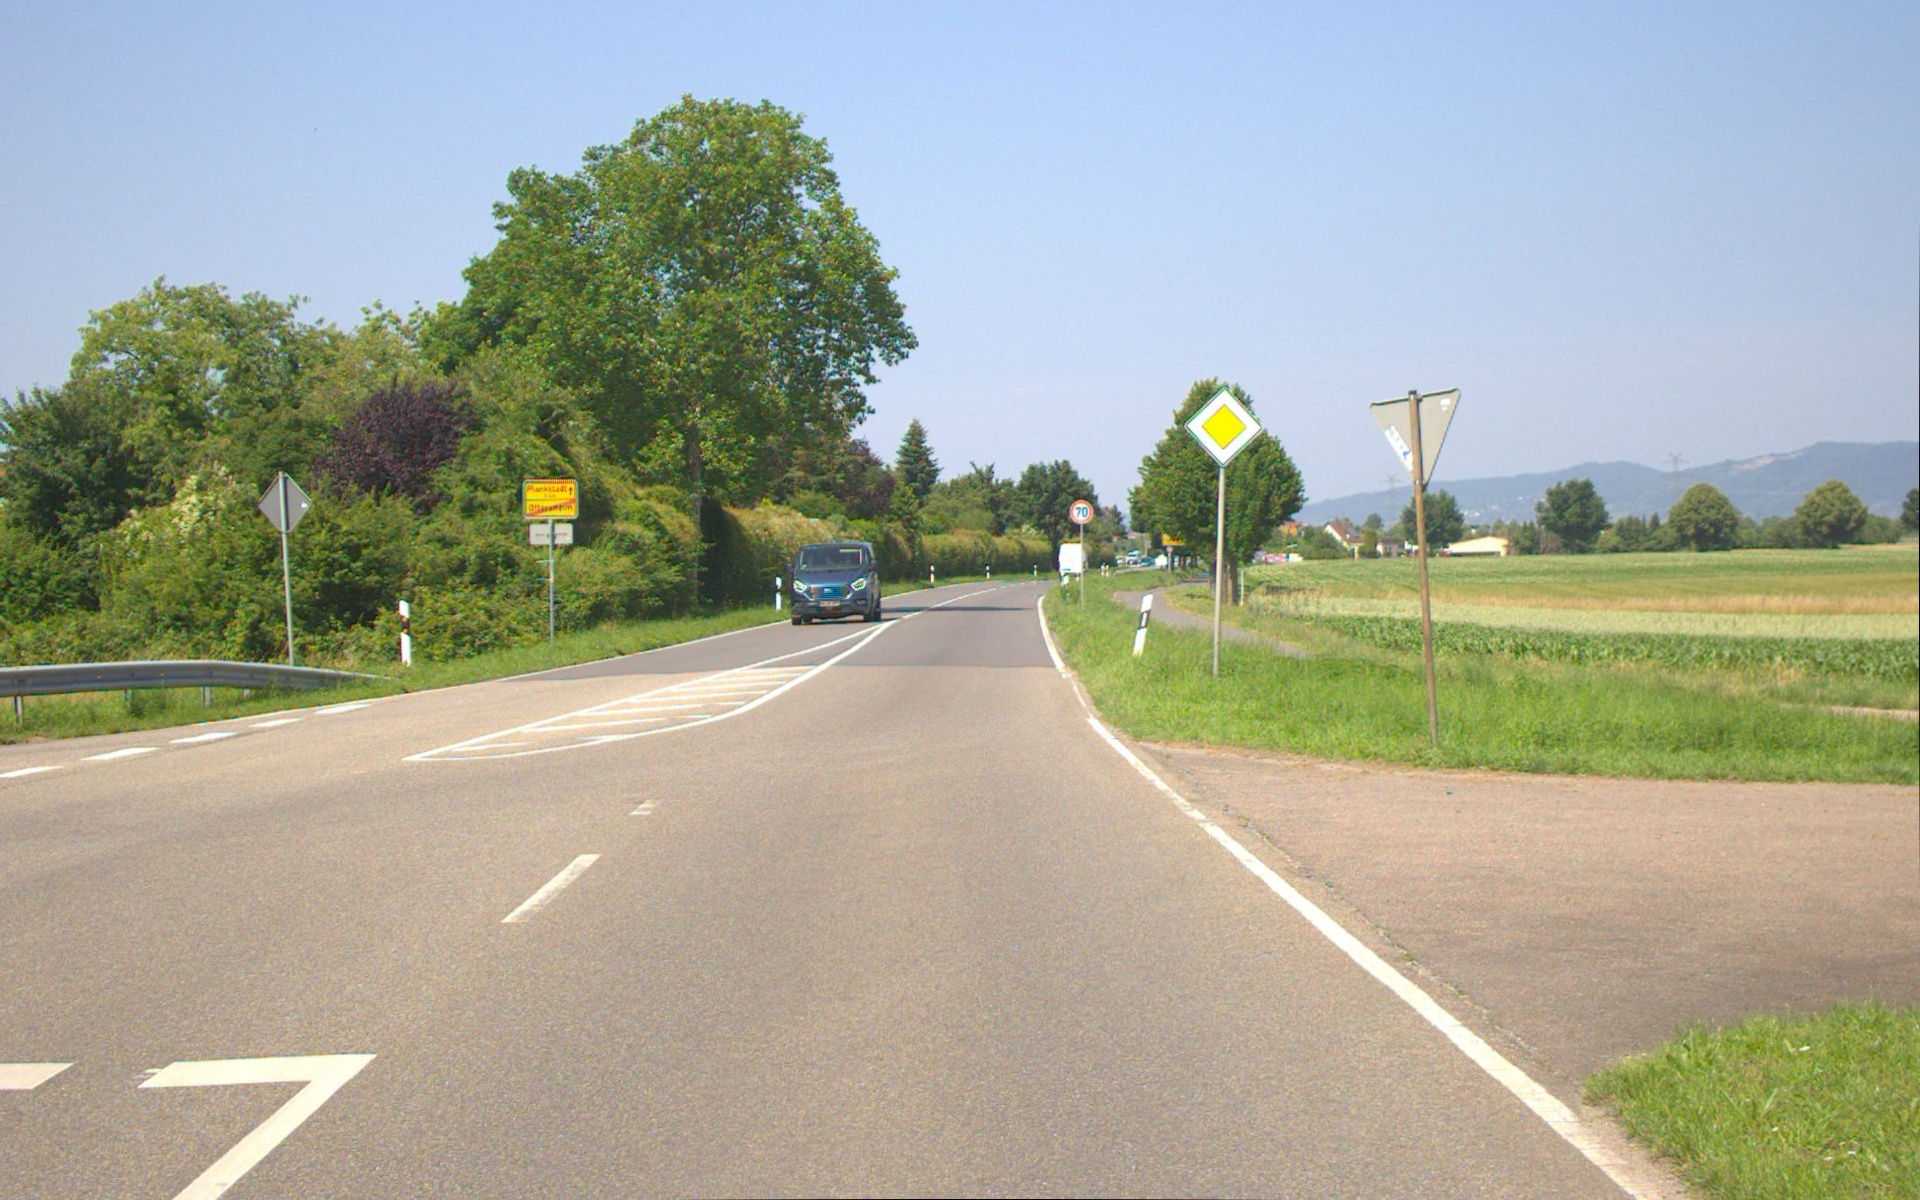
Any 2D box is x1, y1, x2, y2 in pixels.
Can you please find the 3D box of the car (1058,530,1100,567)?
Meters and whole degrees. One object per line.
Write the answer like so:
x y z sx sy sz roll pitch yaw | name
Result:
8.728 -3.793 251.686 1.995 2.642 3.997 -1 1 17 | car

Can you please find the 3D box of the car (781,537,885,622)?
-3.091 -0.537 84.848 2.144 1.944 5.247 -1 1 2 | car
